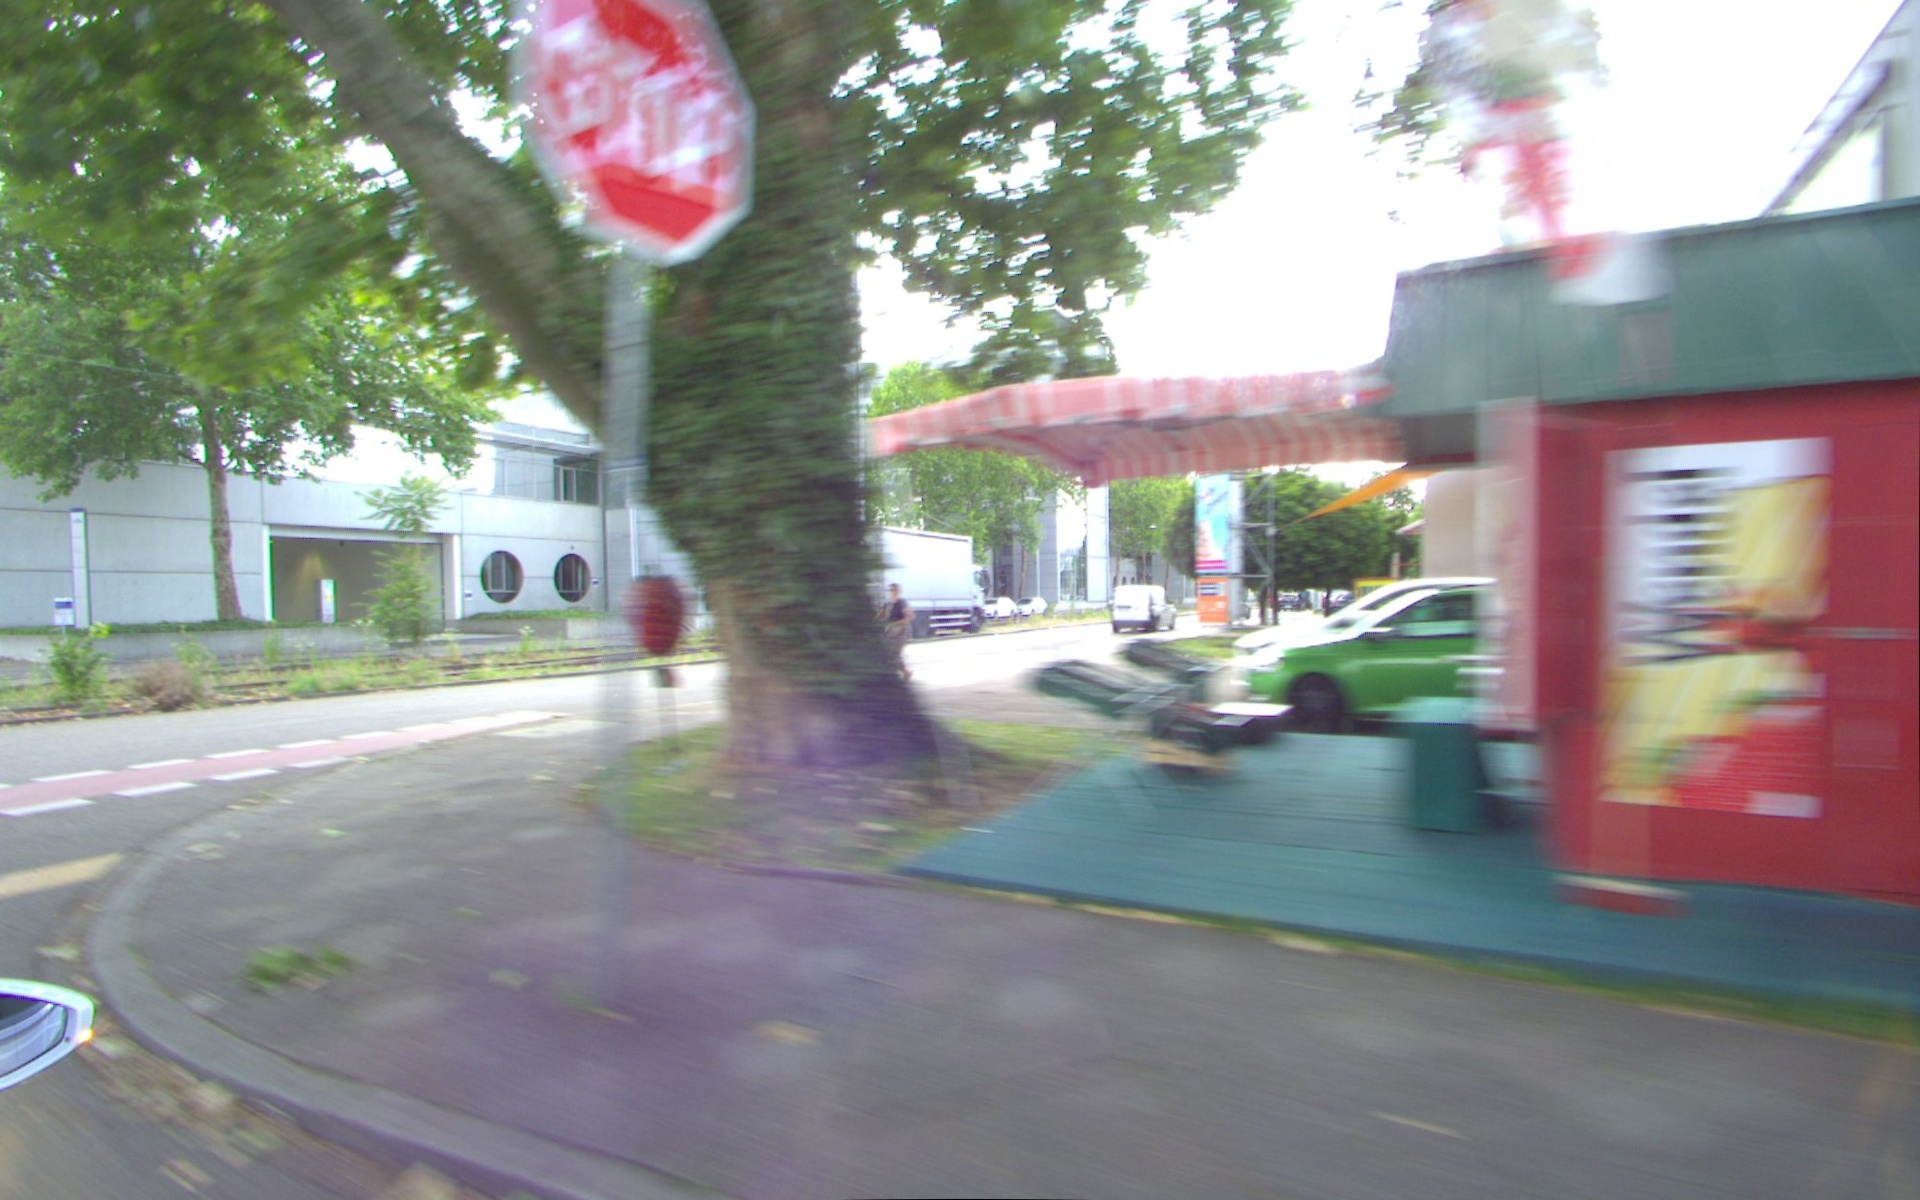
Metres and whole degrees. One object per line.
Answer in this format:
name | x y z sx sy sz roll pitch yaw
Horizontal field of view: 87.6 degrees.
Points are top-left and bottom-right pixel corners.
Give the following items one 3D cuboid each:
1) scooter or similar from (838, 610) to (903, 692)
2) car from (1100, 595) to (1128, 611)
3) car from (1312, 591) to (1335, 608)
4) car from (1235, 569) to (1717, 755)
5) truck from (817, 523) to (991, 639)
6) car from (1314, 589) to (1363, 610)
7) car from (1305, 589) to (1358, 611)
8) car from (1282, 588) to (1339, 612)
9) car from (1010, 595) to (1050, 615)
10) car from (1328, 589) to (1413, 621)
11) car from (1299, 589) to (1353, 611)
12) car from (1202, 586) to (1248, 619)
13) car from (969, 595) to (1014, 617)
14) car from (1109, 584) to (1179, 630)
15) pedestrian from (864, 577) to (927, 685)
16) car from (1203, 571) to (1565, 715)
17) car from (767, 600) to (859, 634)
scooter or similar | -1.388 0.770 15.632 0.636 1.215 1.024 0 1 20
car | 15.276 0.291 99.161 1.643 1.448 3.884 -1 0 27
car | 36.785 -0.076 101.282 1.643 1.708 3.884 -1 1 27
car | 4.930 0.516 9.989 3.938 1.532 1.737 0 1 29
truck | -1.872 -0.684 39.195 2.753 3.948 9.514 -1 1 24
car | 33.063 -0.050 87.533 3.839 1.708 1.662 -1 1 28
car | 30.214 -0.026 81.451 3.839 1.708 1.662 -1 1 28
car | 26.361 0.010 75.373 3.839 1.708 1.662 -1 1 28
car | 5.320 0.374 76.088 1.643 1.448 3.884 -1 0 27
car | 20.405 0.232 49.828 3.836 1.509 1.664 -1 1 25
car | 29.055 -0.015 79.520 3.839 1.708 1.662 -1 1 28
car | 14.697 0.116 55.485 1.643 1.708 3.884 -1 1 27
car | 2.266 0.402 70.818 1.643 1.448 3.884 -1 0 27
car | 7.334 0.245 39.672 1.643 1.708 3.920 -1 1 27
pedestrian | -1.060 0.500 16.573 0.707 1.736 0.962 0 1 19
car | 5.198 0.481 12.630 3.932 1.589 1.740 0 1 23
car | -6.763 0.764 46.722 1.745 1.450 4.950 -1 0 27
